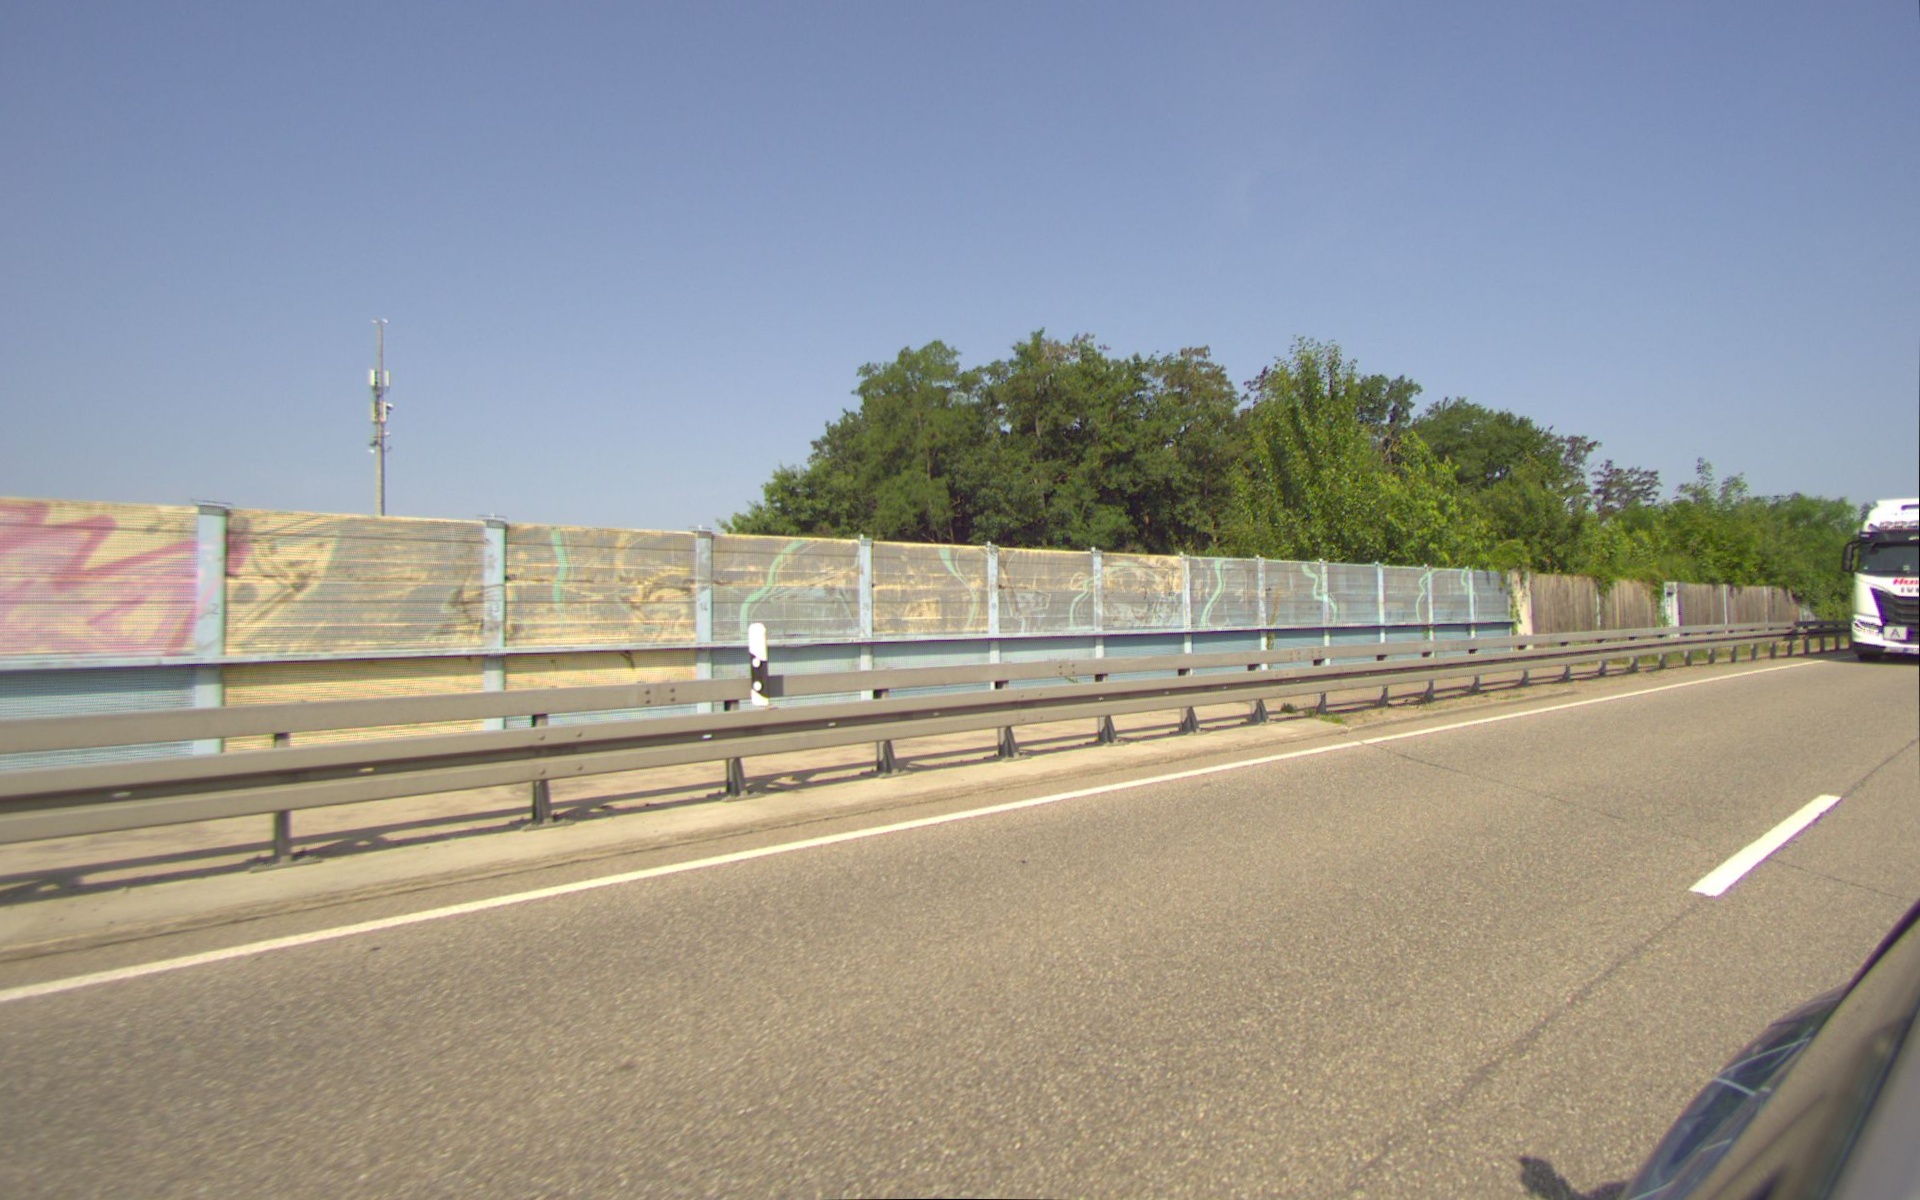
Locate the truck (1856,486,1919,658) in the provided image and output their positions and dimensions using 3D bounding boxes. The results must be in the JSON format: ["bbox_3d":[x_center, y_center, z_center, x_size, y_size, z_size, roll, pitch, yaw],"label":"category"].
[{"bbox_3d":[24.194,-0.641,24.698,5.547,3.945,2.664,0,0,-40],"label":"truck"}]

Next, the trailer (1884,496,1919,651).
[{"bbox_3d":[28.473,-0.635,28.266,9.499,3.957,2.685,1,0,-40],"label":"trailer"}]
